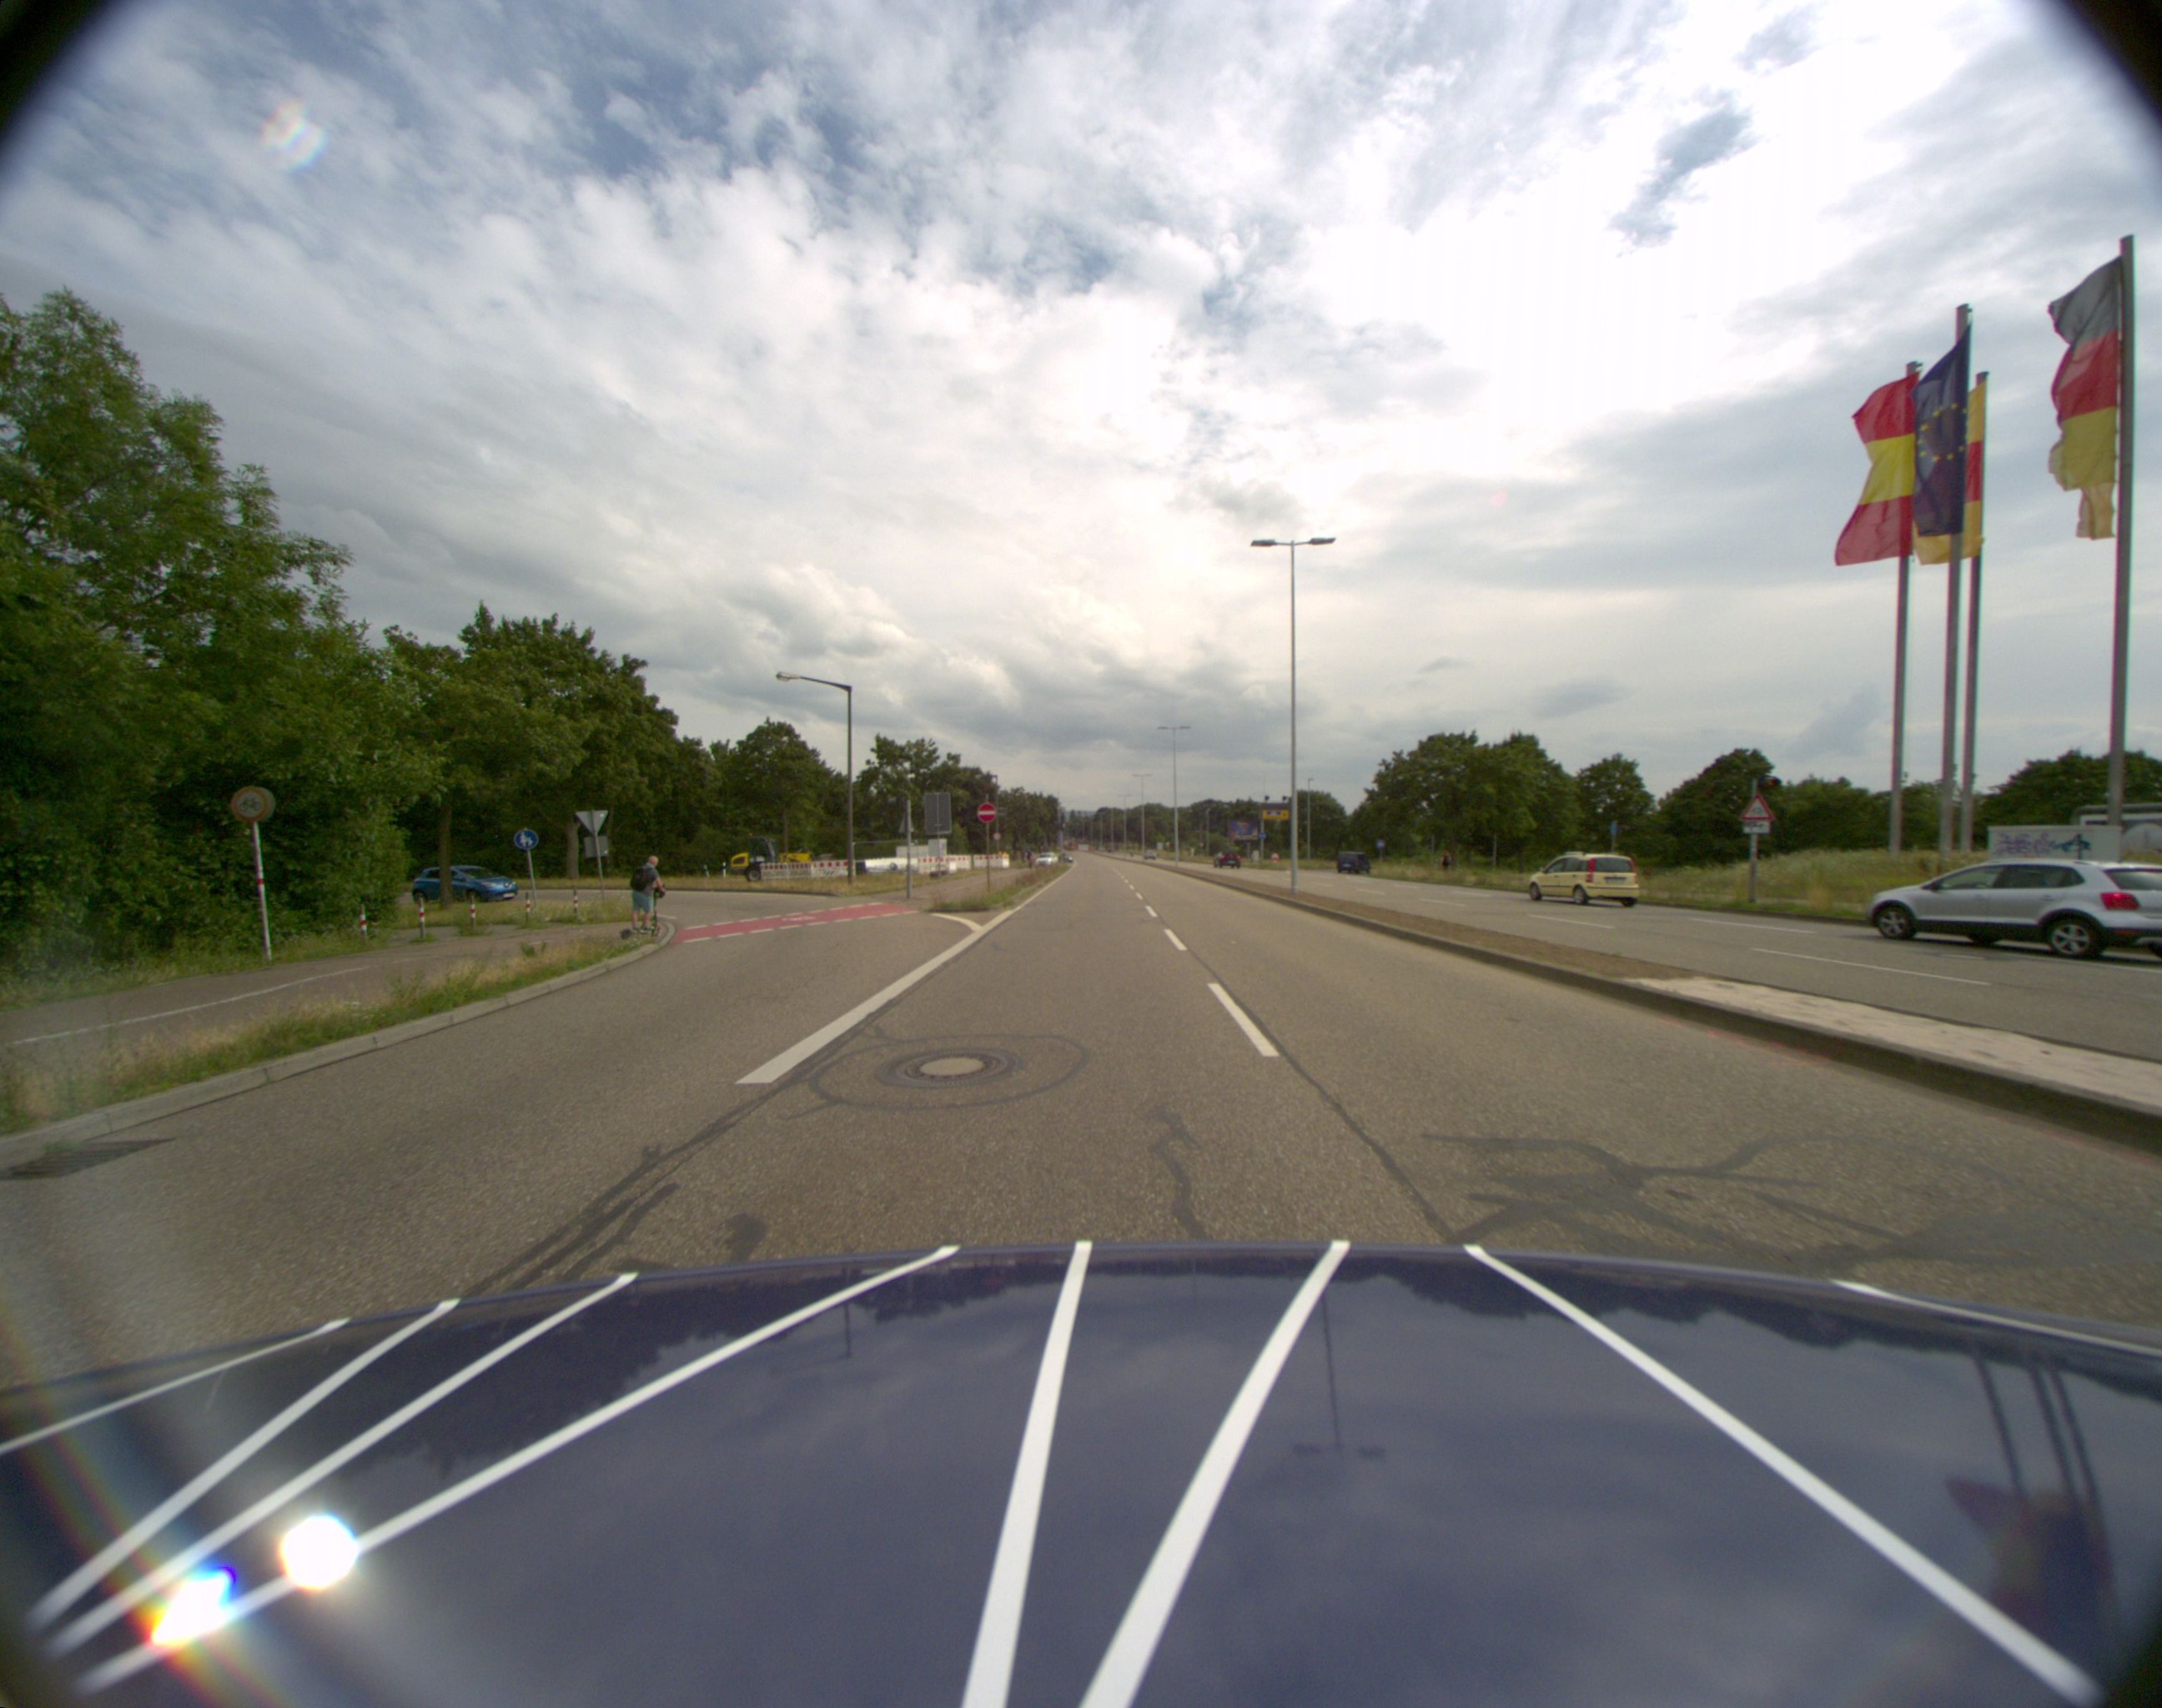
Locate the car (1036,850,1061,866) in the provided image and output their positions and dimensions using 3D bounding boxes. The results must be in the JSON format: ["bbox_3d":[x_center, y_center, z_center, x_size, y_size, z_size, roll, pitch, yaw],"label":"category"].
[{"bbox_3d":[-3.492,0.369,81.540,1.851,1.494,4.001,-3,1,8],"label":"car"}]

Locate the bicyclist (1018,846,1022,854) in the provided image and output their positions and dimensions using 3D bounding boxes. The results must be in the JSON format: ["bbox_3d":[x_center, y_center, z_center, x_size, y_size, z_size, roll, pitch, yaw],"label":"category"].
[{"bbox_3d":[-9.949,-0.710,123.715,0.540,1.275,0.449,-2,2,-2],"label":"bicyclist"}]

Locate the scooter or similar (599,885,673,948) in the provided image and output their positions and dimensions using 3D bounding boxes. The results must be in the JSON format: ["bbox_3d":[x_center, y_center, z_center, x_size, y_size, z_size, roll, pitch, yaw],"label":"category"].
[{"bbox_3d":[-9.602,1.319,16.438,0.588,1.217,1.204,0,2,28],"label":"scooter or similar"}]

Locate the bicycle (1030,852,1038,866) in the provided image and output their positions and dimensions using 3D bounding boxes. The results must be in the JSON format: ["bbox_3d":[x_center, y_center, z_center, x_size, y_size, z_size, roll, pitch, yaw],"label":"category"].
[{"bbox_3d":[-4.055,0.430,65.624,0.575,1.141,1.981,1,1,-2],"label":"bicycle"}]

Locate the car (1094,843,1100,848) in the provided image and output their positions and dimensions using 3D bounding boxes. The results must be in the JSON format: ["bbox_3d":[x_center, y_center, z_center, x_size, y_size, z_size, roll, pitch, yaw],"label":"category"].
[{"bbox_3d":[5.365,-2.964,258.941,1.773,1.644,4.636,1,1,-2],"label":"car"}]

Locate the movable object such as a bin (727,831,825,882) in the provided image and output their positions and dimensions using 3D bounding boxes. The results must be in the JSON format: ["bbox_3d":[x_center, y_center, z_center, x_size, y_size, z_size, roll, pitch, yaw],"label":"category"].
[{"bbox_3d":[-17.022,0.140,42.529,4.511,2.674,2.102,-1,2,6],"label":"movable object such as a bin"}]

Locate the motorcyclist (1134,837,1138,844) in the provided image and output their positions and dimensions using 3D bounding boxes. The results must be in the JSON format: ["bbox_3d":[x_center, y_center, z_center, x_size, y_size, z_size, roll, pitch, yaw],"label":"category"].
[{"bbox_3d":[12.587,-3.014,174.861,0.772,1.579,0.896,1,1,0],"label":"motorcyclist"}]

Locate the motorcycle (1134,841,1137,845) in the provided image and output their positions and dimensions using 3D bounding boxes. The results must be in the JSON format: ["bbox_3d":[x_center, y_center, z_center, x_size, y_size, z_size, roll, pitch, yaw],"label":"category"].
[{"bbox_3d":[12.606,-2.575,174.833,0.524,0.961,2.219,0,1,0],"label":"motorcycle"}]

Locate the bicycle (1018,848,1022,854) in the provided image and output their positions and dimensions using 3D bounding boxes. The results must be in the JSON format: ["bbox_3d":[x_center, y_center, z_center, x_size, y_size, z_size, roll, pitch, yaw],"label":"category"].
[{"bbox_3d":[-9.941,-0.432,123.684,0.515,0.959,1.781,1,1,-2],"label":"bicycle"}]

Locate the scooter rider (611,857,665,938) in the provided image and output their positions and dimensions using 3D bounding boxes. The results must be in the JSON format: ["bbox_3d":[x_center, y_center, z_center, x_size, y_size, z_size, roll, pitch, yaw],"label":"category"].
[{"bbox_3d":[-9.566,0.924,16.423,0.588,1.681,0.745,0,2,28],"label":"scooter rider"}]

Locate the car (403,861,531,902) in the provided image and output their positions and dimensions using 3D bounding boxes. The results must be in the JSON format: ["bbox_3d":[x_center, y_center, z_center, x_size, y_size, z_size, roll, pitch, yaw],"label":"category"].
[{"bbox_3d":[-25.880,1.154,32.091,3.995,1.509,1.880,-1,2,6],"label":"car"}]

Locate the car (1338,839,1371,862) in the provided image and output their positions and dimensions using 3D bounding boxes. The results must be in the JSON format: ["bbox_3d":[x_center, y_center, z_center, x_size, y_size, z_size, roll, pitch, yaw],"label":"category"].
[{"bbox_3d":[24.320,-0.313,67.498,1.848,1.883,5.515,3,1,29],"label":"car"}]

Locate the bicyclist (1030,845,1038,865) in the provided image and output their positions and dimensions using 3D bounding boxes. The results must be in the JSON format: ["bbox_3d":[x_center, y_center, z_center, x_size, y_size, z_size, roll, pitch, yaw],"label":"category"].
[{"bbox_3d":[-4.073,0.067,65.593,0.653,1.648,0.876,-2,2,-2],"label":"bicyclist"}]

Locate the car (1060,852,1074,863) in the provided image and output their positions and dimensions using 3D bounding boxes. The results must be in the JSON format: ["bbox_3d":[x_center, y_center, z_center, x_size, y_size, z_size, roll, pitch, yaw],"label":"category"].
[{"bbox_3d":[-1.993,0.517,108.278,1.773,1.439,4.321,-1,1,-3],"label":"car"}]

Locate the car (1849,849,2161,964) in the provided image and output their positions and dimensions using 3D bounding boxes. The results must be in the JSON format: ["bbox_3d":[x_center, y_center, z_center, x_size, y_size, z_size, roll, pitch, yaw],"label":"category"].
[{"bbox_3d":[15.141,0.707,12.165,1.653,1.507,4.016,1,1,2],"label":"car"}]

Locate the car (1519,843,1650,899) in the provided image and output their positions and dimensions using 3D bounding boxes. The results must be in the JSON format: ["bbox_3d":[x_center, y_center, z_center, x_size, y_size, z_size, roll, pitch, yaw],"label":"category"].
[{"bbox_3d":[15.261,0.453,23.273,1.552,1.569,3.690,1,1,1],"label":"car"}]

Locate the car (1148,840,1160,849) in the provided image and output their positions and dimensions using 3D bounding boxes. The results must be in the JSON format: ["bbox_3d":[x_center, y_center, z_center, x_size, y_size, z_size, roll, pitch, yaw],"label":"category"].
[{"bbox_3d":[13.313,-1.708,139.303,1.852,1.592,4.560,0,1,0],"label":"car"}]

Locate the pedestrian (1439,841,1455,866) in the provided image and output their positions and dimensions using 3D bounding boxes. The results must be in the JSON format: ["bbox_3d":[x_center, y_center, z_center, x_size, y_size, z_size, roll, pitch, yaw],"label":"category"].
[{"bbox_3d":[25.089,-0.062,52.105,0.865,1.683,0.680,2,1,30],"label":"pedestrian"}]

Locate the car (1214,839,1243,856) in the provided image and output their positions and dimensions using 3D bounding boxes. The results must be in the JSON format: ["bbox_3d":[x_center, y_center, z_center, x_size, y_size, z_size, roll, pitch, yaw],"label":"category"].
[{"bbox_3d":[13.025,-0.556,67.215,1.768,1.432,4.176,1,1,1],"label":"car"}]
